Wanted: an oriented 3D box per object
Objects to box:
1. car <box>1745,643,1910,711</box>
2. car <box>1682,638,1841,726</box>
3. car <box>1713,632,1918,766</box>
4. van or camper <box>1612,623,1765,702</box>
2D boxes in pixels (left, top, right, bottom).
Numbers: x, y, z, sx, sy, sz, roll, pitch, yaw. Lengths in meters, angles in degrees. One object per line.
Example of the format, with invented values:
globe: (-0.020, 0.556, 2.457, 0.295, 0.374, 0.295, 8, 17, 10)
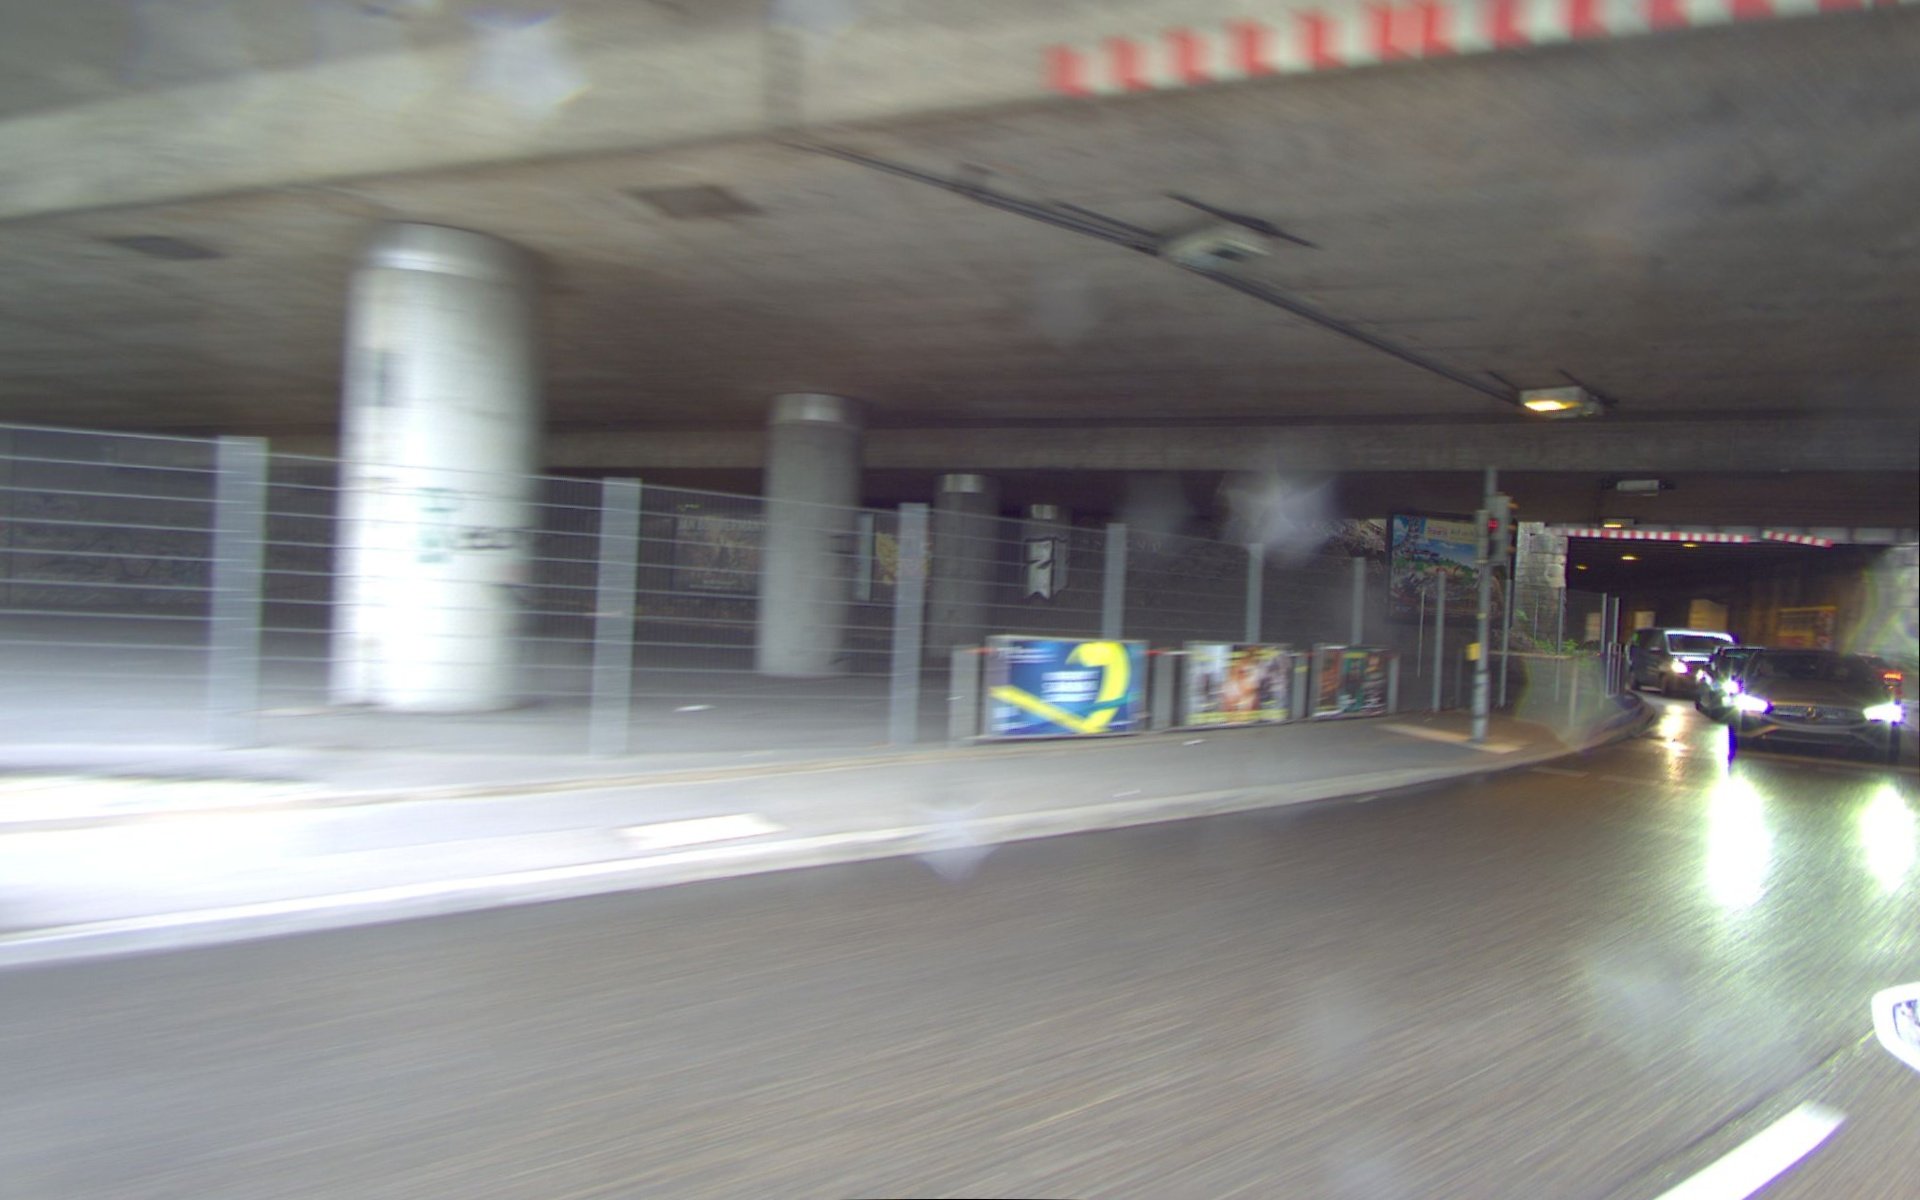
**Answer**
car: (22.312, 1.928, 26.058, 1.806, 1.457, 4.103, 2, -1, 19)
car: (15.919, 1.566, 20.176, 1.965, 1.484, 4.097, 1, -1, 31)
car: (12.322, 1.316, 14.657, 1.969, 1.550, 4.481, 2, -1, 39)
van or camper: (19.897, 1.644, 27.720, 1.960, 1.893, 5.140, 2, -1, 19)
